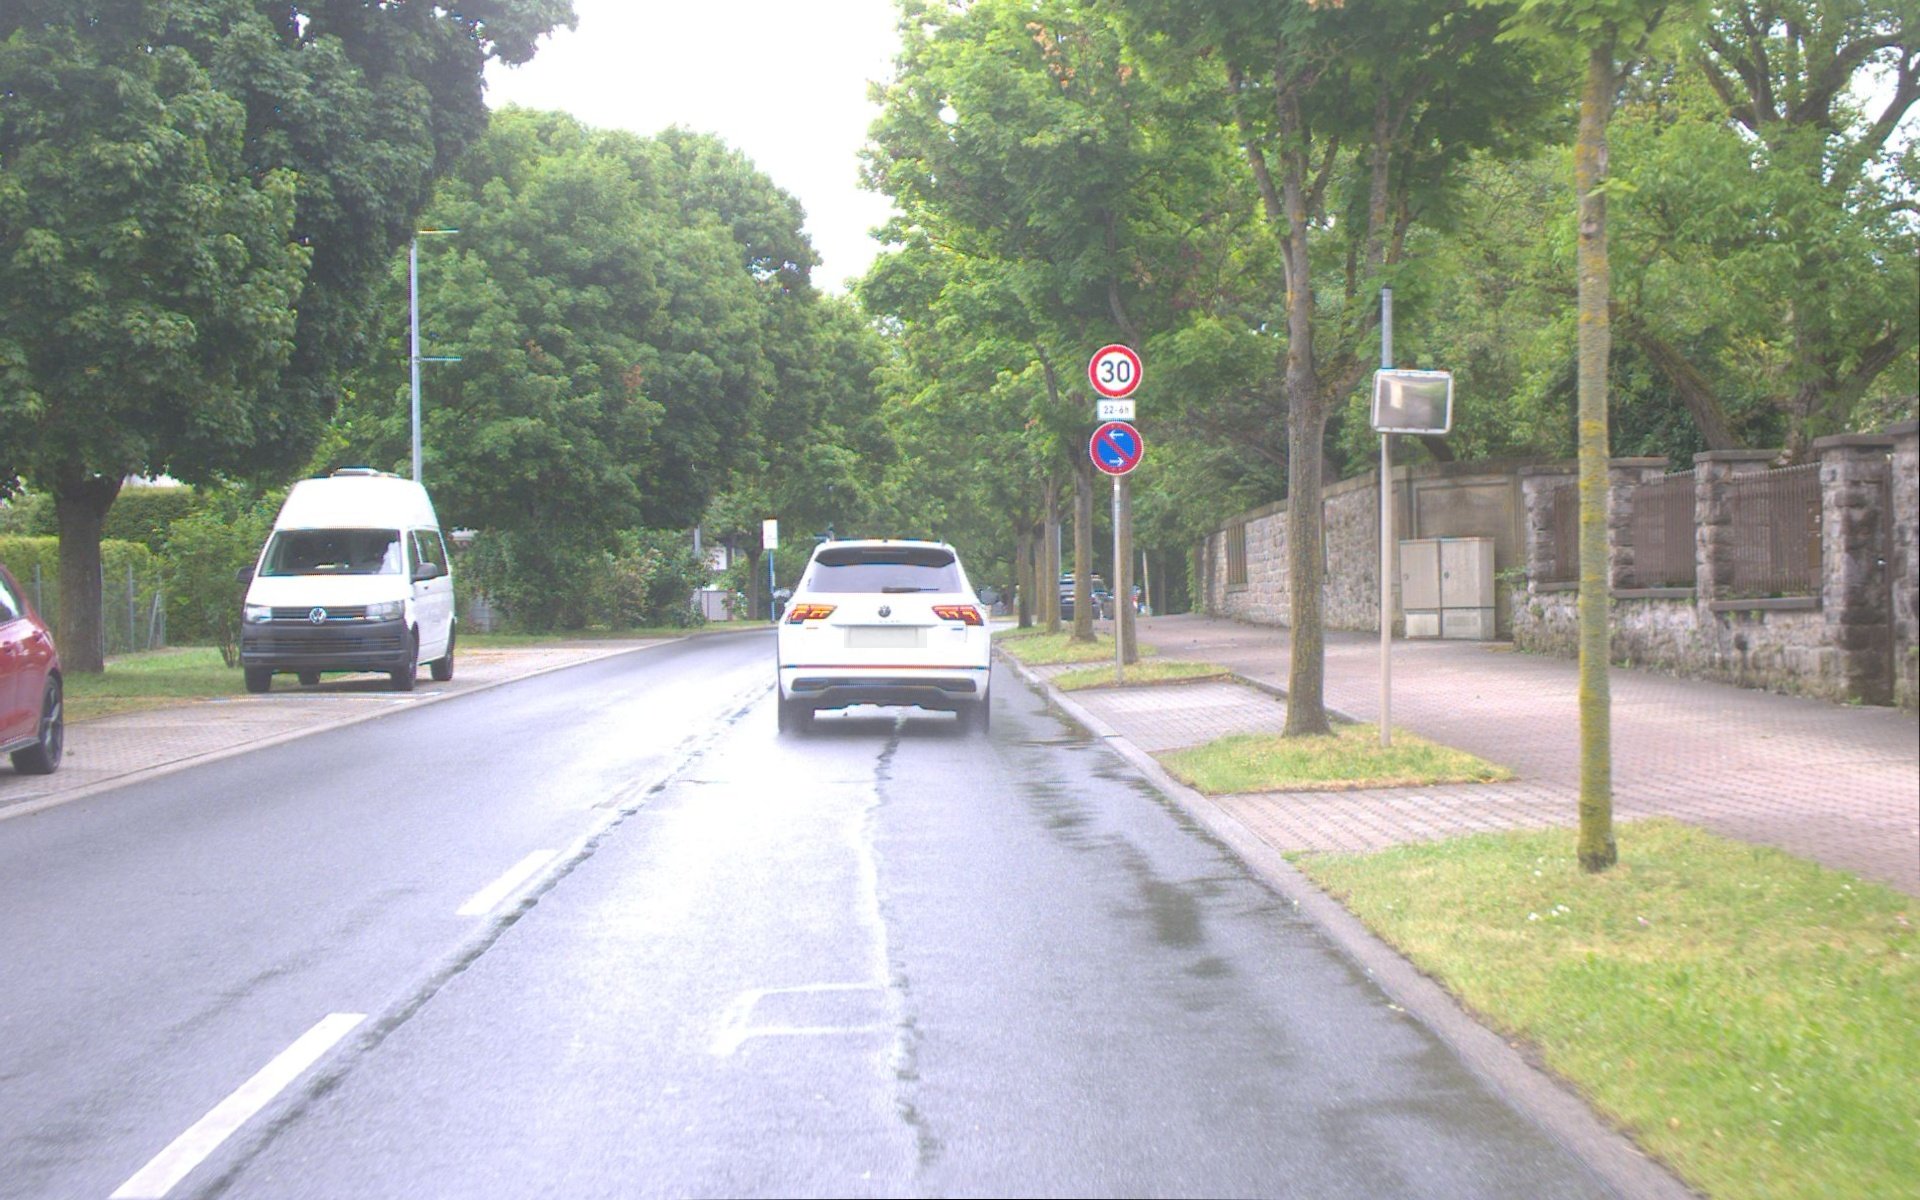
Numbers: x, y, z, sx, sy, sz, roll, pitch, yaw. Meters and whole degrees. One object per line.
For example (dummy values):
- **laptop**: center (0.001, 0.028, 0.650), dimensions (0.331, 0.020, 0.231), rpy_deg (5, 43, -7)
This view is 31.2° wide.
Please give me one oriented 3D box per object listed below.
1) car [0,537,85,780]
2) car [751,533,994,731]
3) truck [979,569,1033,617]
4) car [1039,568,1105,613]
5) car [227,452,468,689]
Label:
- **car**: center (-6.690, 0.357, 20.768), dimensions (1.843, 1.461, 4.250), rpy_deg (-1, 1, -2)
- **car**: center (-0.749, 0.239, 30.335), dimensions (1.997, 1.626, 4.000), rpy_deg (0, 1, -1)
- **truck**: center (2.592, -0.354, 193.129), dimensions (2.285, 2.588, 5.872), rpy_deg (-1, -1, 8)
- **car**: center (3.966, -0.314, 120.925), dimensions (1.841, 1.482, 3.998), rpy_deg (-3, -1, 8)
- **car**: center (-7.071, -0.360, 40.205), dimensions (1.993, 2.552, 5.233), rpy_deg (-1, 1, -2)
